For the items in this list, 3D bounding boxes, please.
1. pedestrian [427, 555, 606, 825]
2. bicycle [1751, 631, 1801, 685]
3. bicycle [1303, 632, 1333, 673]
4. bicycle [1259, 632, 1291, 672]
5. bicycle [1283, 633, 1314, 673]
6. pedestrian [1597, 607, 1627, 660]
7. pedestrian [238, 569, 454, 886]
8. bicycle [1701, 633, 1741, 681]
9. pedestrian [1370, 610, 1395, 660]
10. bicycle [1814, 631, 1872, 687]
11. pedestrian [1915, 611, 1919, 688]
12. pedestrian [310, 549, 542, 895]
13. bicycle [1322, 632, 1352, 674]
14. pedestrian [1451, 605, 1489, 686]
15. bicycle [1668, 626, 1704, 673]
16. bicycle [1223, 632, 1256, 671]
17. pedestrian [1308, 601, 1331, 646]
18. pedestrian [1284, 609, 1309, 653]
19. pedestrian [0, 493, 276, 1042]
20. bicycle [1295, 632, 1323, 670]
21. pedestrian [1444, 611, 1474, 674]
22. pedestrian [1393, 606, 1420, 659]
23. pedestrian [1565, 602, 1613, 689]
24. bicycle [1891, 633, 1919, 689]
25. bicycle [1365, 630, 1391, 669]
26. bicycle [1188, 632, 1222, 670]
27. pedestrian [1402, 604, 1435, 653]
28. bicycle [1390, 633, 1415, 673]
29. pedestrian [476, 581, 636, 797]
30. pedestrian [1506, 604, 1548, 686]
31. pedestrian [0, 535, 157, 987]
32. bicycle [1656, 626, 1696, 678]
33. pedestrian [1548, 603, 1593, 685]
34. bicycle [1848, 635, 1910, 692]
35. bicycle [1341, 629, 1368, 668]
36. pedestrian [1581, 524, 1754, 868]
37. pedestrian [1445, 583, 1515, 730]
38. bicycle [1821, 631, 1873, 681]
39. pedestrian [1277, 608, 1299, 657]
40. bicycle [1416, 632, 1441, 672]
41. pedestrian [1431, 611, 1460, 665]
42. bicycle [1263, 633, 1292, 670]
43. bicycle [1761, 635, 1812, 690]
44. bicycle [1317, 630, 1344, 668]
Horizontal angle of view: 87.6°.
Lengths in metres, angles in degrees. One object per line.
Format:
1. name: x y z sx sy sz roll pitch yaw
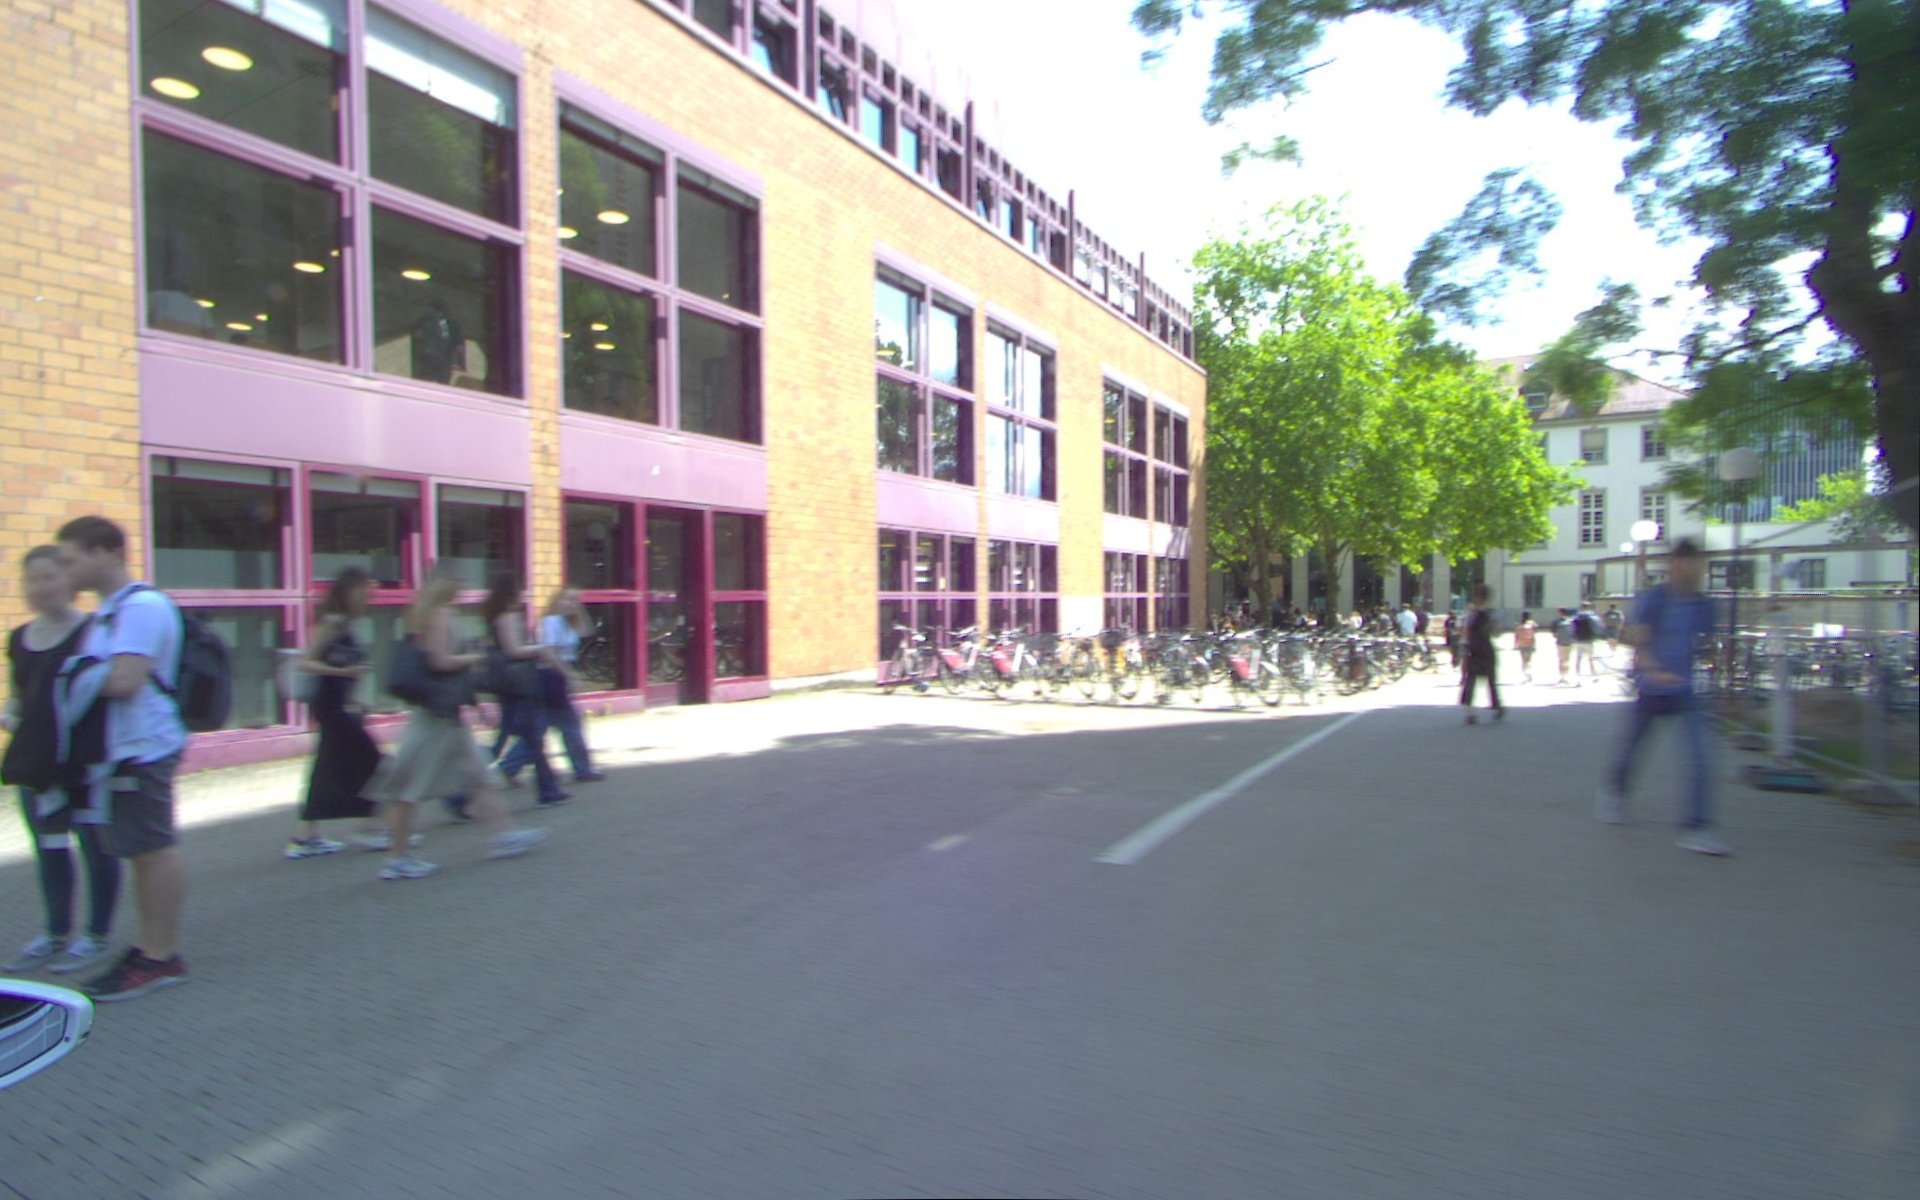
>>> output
1. pedestrian: -3.004 0.570 6.823 0.581 1.694 0.925 -1 0 38
2. bicycle: 18.583 1.305 22.828 0.537 1.184 1.995 0 -2 29
3. bicycle: 10.806 1.583 30.195 0.537 1.184 1.995 0 -2 29
4. bicycle: 9.720 1.602 30.882 0.537 1.184 1.995 0 -2 29
5. bicycle: 10.327 1.605 30.541 0.537 1.184 1.995 0 -2 29
6. pedestrian: 22.095 1.120 33.943 0.674 1.750 0.902 -3 -1 26
7. pedestrian: -3.590 0.673 5.886 0.635 1.695 0.882 1 3 38
8. bicycle: 19.709 1.464 25.961 0.537 1.184 1.995 0 -2 29
9. pedestrian: 15.015 1.230 35.596 0.672 1.751 0.904 1 0 14
10. bicycle: 19.620 1.291 22.279 0.537 1.184 1.995 0 -2 29
11. pedestrian: 20.757 1.053 21.284 0.525 1.651 0.560 0 -1 31
12. pedestrian: -2.859 0.587 5.405 0.552 1.695 0.882 -1 2 38
13. bicycle: 11.255 1.571 29.876 0.537 1.184 1.995 0 -2 29
14. pedestrian: 11.328 1.005 22.242 0.674 1.750 0.901 -3 -1 27
15. bicycle: 19.048 1.283 26.303 0.537 1.184 1.995 0 -2 29
16. bicycle: 8.770 1.614 31.349 0.537 1.184 1.995 0 -2 29
17. pedestrian: 15.447 1.012 43.040 0.672 1.846 0.904 -2 -1 9
18. pedestrian: 14.506 1.322 43.184 0.671 1.846 0.905 -2 -1 -3
19. pedestrian: -3.163 0.558 3.790 0.581 1.818 0.763 -1 1 38
20. bicycle: 11.384 1.662 32.614 0.537 1.184 1.995 0 -2 29
21. pedestrian: 14.212 1.193 28.557 0.674 1.750 0.902 -3 -1 26
22. pedestrian: 15.947 1.155 35.784 0.672 1.846 0.904 -2 -1 14
23. pedestrian: 12.994 0.935 20.713 0.674 1.750 0.902 -3 -1 26
24. bicycle: 20.713 1.304 21.535 0.537 1.184 1.995 0 -2 29
25. bicycle: 13.127 1.550 31.450 0.537 1.184 1.995 0 -2 29
26. bicycle: 7.848 1.618 32.010 0.537 1.184 1.995 0 -2 29
27. pedestrian: 17.692 1.110 38.651 0.674 1.846 0.902 -2 -1 -25
28. bicycle: 13.755 1.634 31.114 0.537 1.184 1.995 0 -2 29
29. pedestrian: -3.152 0.639 7.848 0.733 1.563 0.882 1 3 38
30. pedestrian: 12.529 0.987 22.132 0.674 1.750 0.902 -3 -1 26
31. pedestrian: -3.774 0.610 4.024 0.581 1.695 0.694 -1 1 38
32. bicycle: 16.916 1.216 23.696 0.537 1.184 1.995 0 -2 29
33. pedestrian: 13.267 0.950 21.791 0.674 1.750 0.902 -3 -1 26
34. bicycle: 20.154 1.369 21.986 0.537 1.184 1.995 0 -2 29
35. bicycle: 12.571 1.536 31.898 0.537 1.184 1.995 0 -2 29
36. pedestrian: 3.889 0.487 5.503 0.694 1.672 1.041 -1 -1 38
37. pedestrian: 6.185 0.655 11.900 0.581 1.672 0.849 -1 -1 38
38. bicycle: 22.084 1.380 24.968 0.537 1.184 1.995 0 -2 29
39. pedestrian: 12.783 1.259 39.056 0.672 1.846 0.904 -3 -1 15
40. bicycle: 14.354 1.589 30.668 0.537 1.184 1.995 0 -2 29
41. pedestrian: 16.140 1.245 33.288 0.672 1.750 0.903 -3 -1 17
42. bicycle: 10.503 1.697 33.106 0.537 1.184 1.995 0 -2 29
43. bicycle: 18.731 1.392 22.718 0.537 1.184 1.995 0 -2 29
44. bicycle: 11.971 1.577 32.317 0.537 1.184 1.995 0 -2 29
